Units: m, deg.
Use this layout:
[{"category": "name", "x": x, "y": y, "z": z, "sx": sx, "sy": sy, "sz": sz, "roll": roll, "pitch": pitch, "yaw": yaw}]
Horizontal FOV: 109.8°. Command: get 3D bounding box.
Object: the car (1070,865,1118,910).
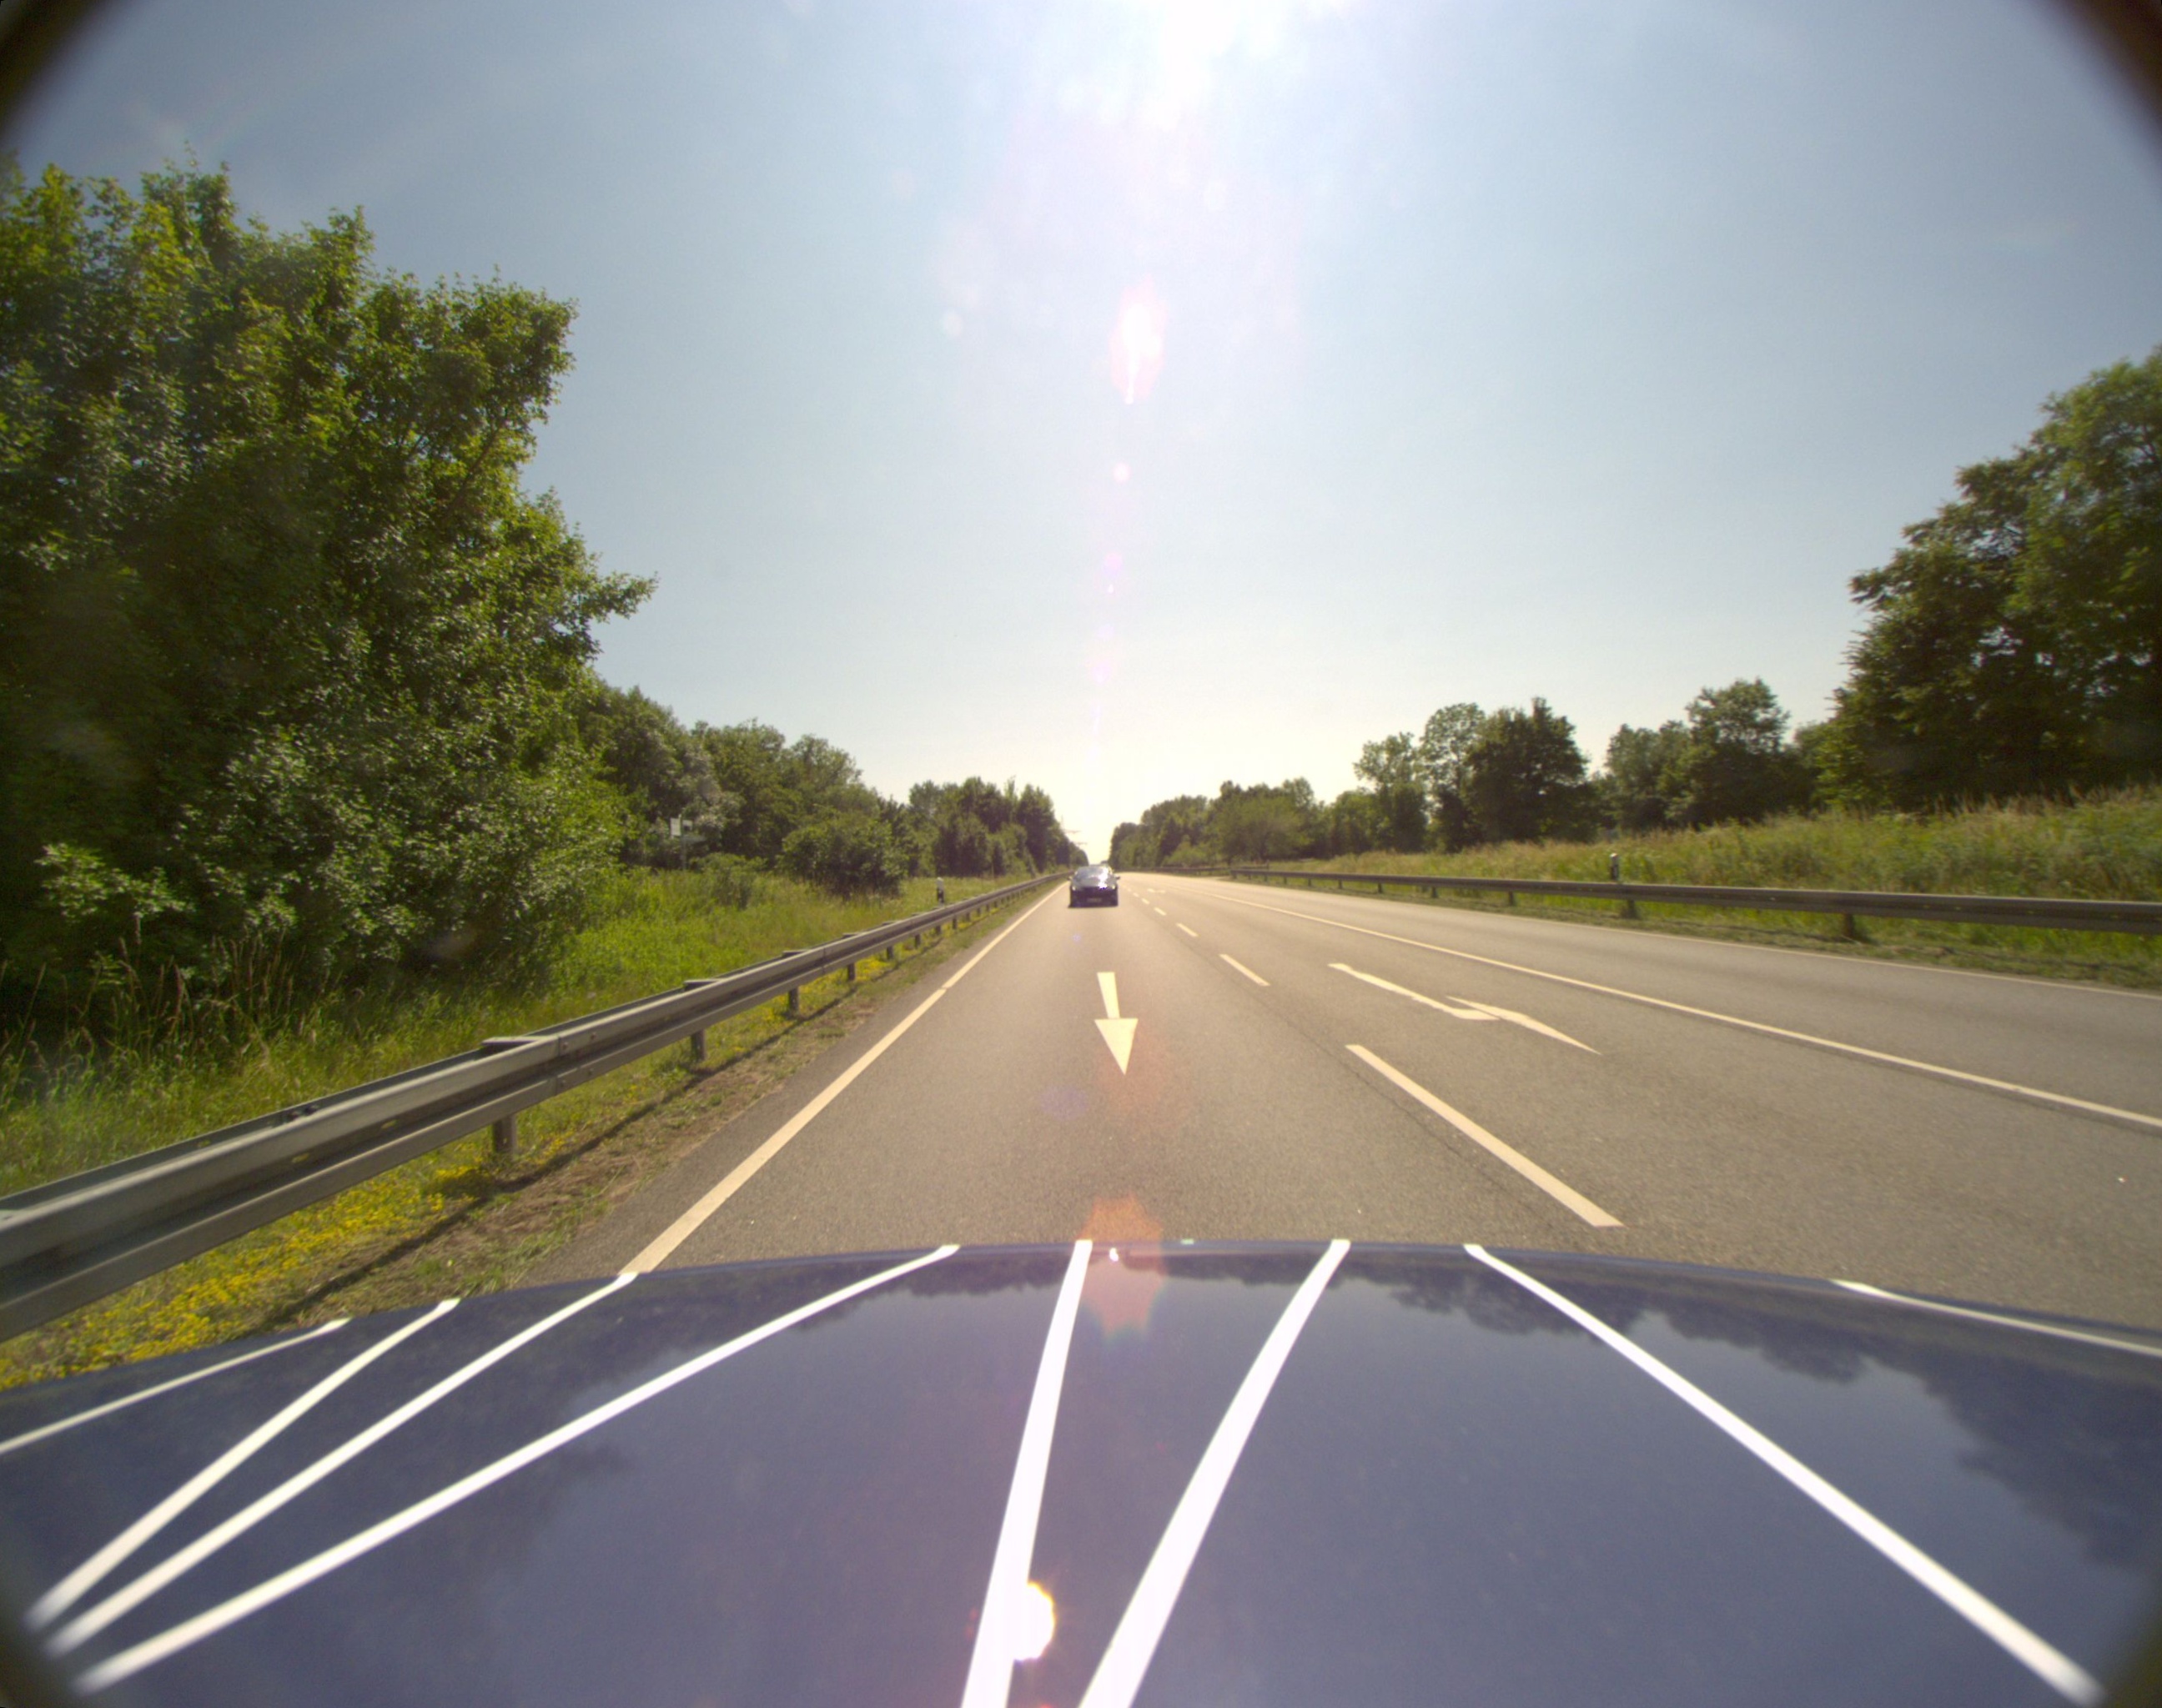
[{"category": "car", "x": 0.463, "y": 1.116, "z": 26.282, "sx": 1.529, "sy": 1.387, "sz": 3.443, "roll": -1, "pitch": 0, "yaw": 1}]
